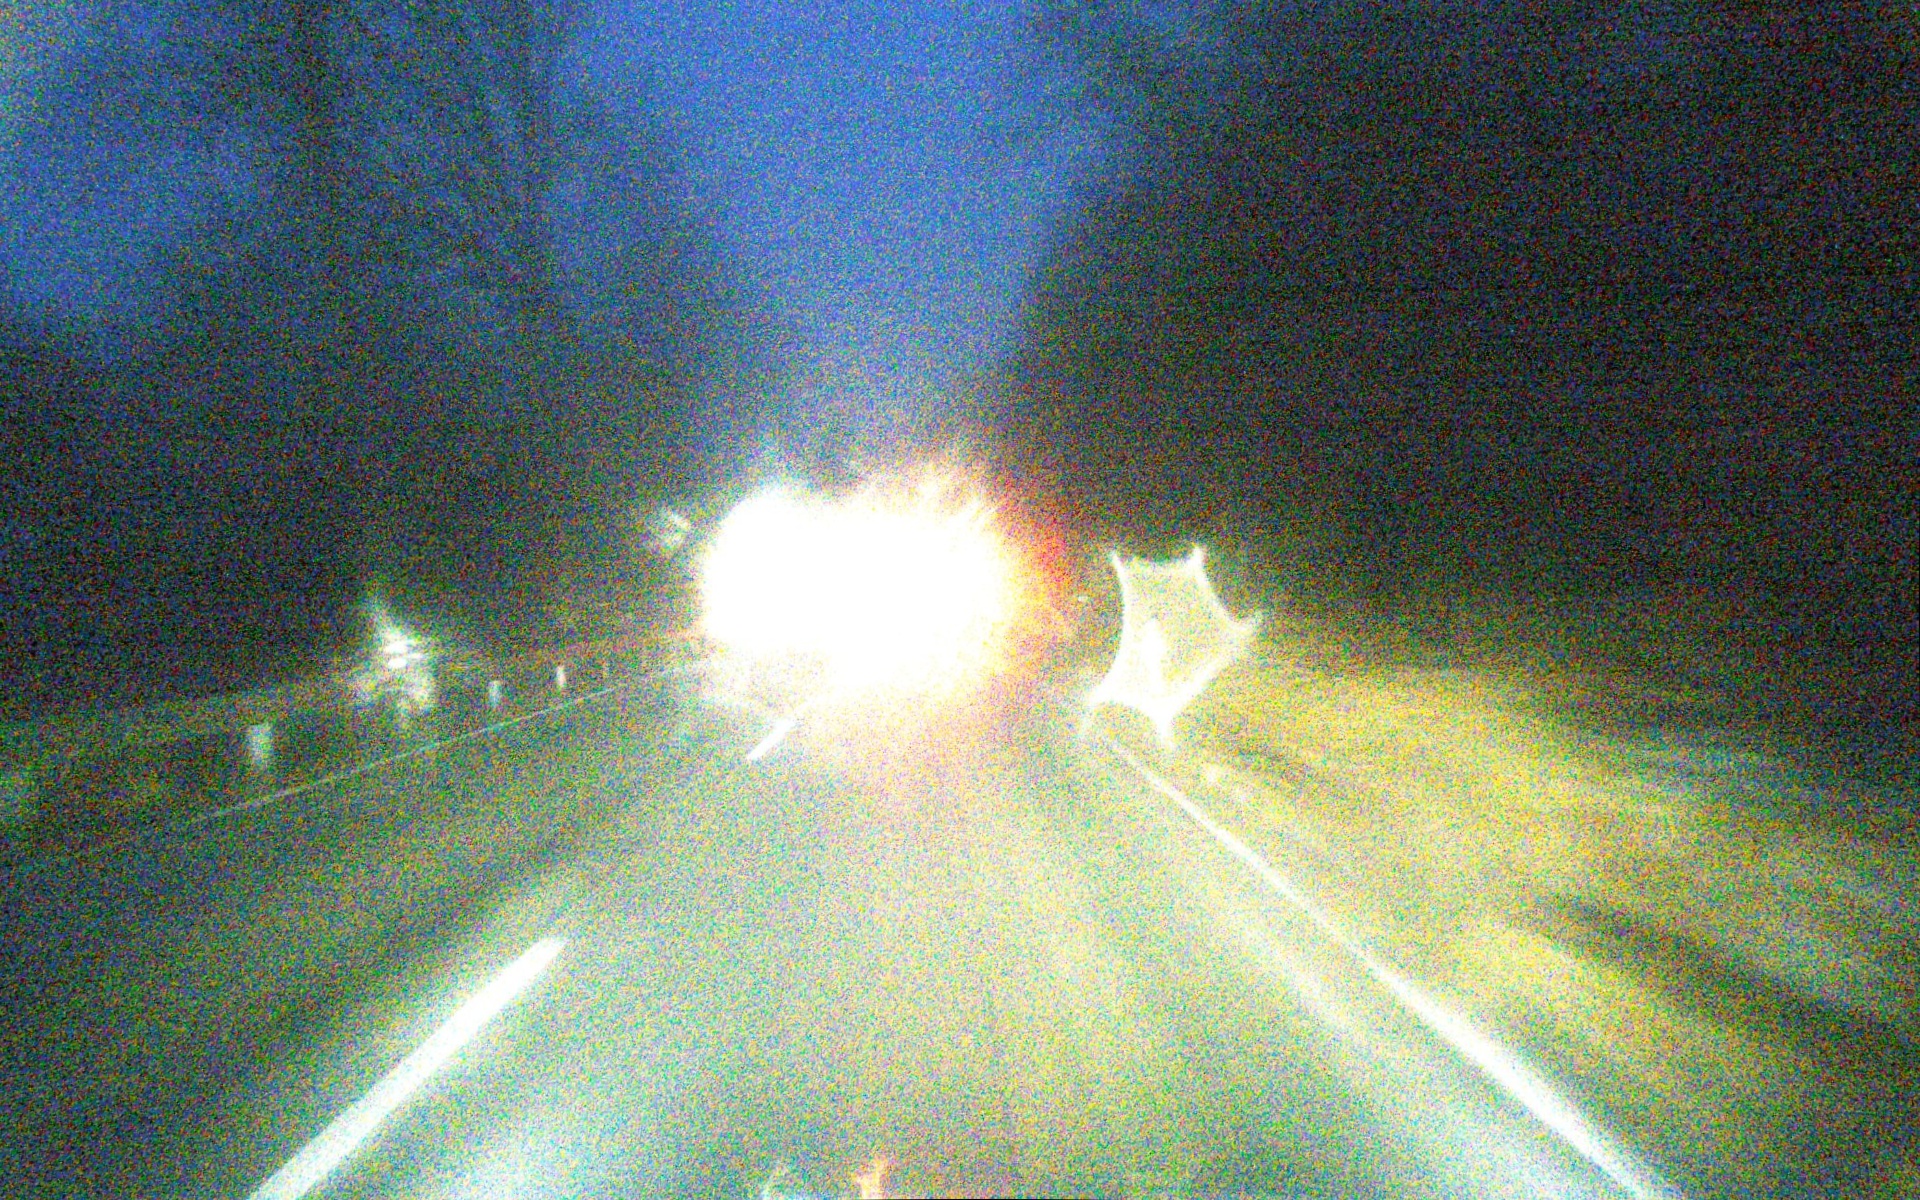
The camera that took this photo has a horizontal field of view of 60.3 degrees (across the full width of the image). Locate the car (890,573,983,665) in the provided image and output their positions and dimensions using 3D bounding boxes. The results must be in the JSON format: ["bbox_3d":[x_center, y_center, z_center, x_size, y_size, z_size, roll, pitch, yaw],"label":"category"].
[{"bbox_3d":[-0.596,0.376,38.010,1.954,1.838,3.916,-2,2,-3],"label":"car"}]
